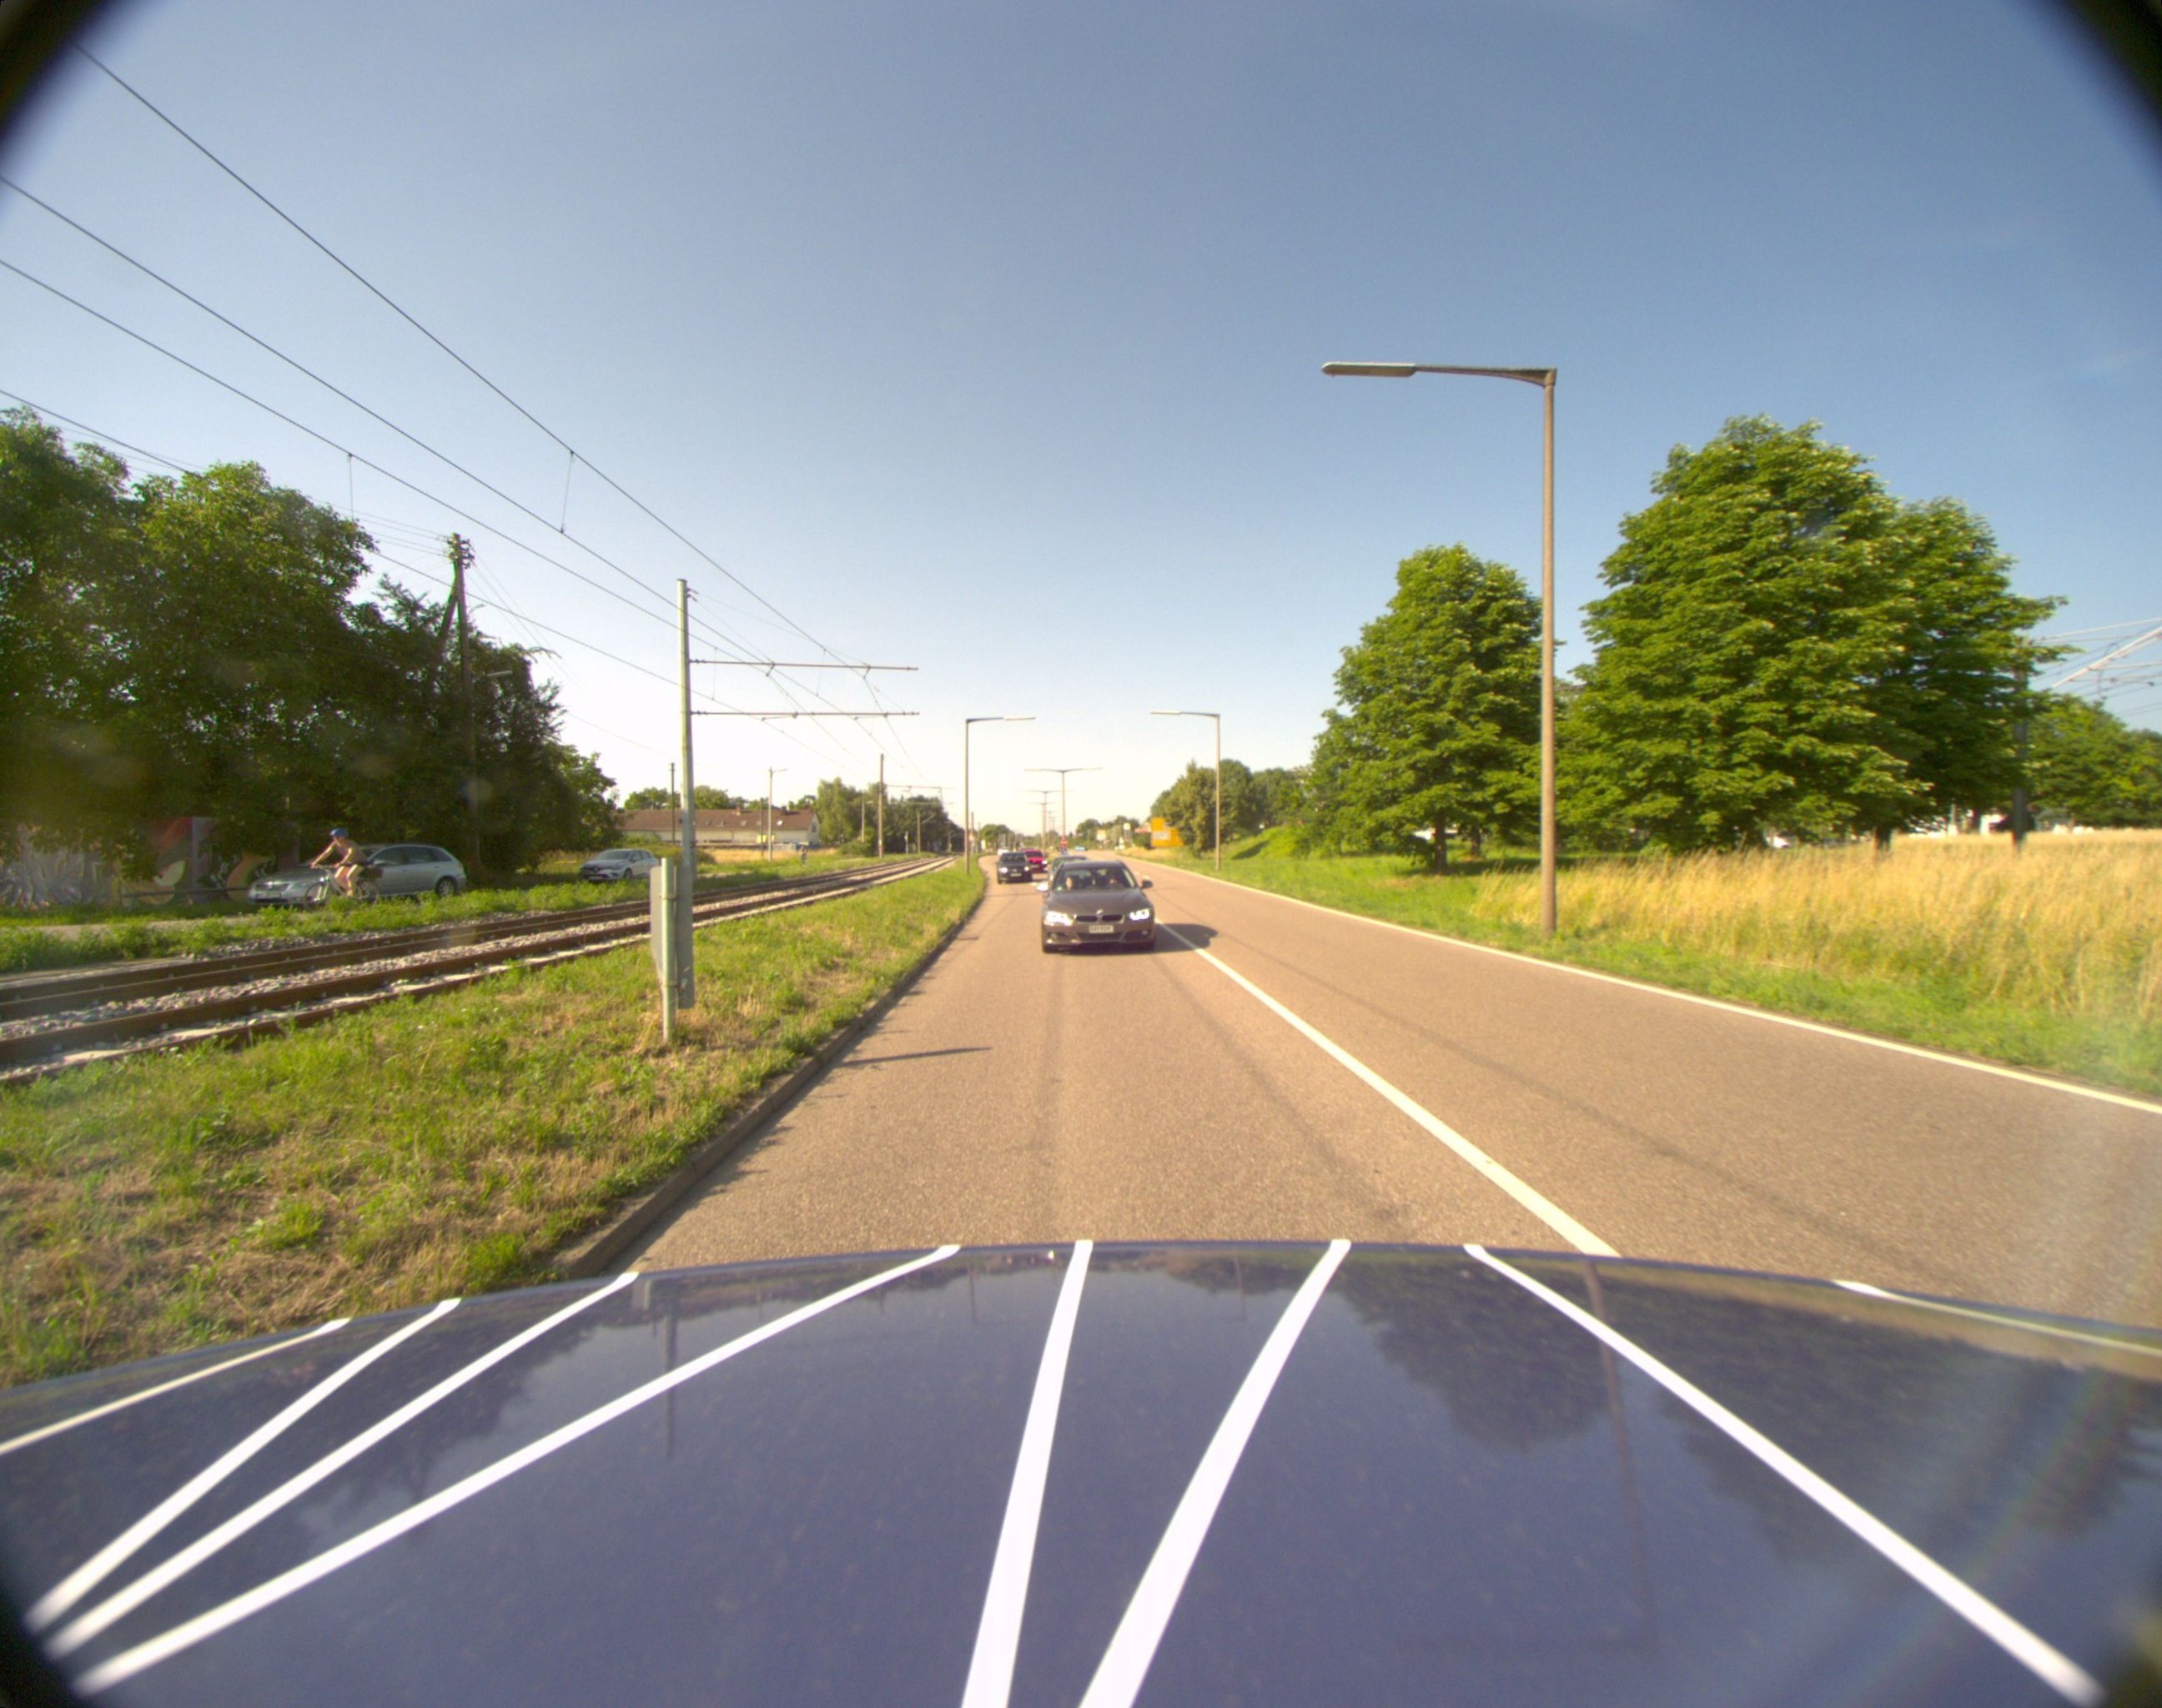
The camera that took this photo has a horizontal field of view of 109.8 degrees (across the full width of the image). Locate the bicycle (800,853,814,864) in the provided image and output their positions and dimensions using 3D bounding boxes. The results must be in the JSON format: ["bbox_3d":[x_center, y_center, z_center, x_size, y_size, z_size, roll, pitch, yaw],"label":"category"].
[{"bbox_3d":[-23.273,0.345,64.559,0.644,0.904,1.812,-2,1,-4],"label":"bicycle"}]

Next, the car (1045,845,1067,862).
[{"bbox_3d":[-2.444,-0.071,72.534,1.969,1.504,4.806,-1,1,-4],"label":"car"}]

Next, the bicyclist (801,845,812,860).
[{"bbox_3d":[-23.289,-0.112,64.534,0.641,1.226,0.791,-2,1,-4],"label":"bicyclist"}]

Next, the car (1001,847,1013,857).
[{"bbox_3d":[-12.591,-0.318,129.499,1.969,1.609,4.305,-1,1,-6],"label":"car"}]

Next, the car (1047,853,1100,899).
[{"bbox_3d":[-0.248,0.719,27.285,1.711,1.444,4.589,-2,0,0],"label":"car"}]

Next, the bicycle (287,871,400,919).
[{"bbox_3d":[-15.727,0.846,16.273,0.644,0.904,1.843,-1,1,-2],"label":"bicycle"}]

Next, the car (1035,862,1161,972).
[{"bbox_3d":[0.200,0.927,12.814,1.747,1.444,3.946,-2,1,-1],"label":"car"}]

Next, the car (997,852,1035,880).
[{"bbox_3d":[-3.388,0.605,40.363,1.848,1.347,4.152,-2,1,-4],"label":"car"}]

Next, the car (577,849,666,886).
[{"bbox_3d":[-18.913,0.498,31.483,1.539,1.440,4.128,0,0,-6],"label":"car"}]

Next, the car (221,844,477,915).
[{"bbox_3d":[-18.224,0.553,19.327,1.912,1.581,4.726,0,0,0],"label":"car"}]

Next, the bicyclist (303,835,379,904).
[{"bbox_3d":[-15.739,0.321,16.194,0.631,1.414,0.962,-1,1,-2],"label":"bicyclist"}]

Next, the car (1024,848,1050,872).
[{"bbox_3d":[-3.027,0.360,52.242,1.608,1.504,4.266,-2,1,-4],"label":"car"}]

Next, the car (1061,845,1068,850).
[{"bbox_3d":[-5.102,-1.958,233.793,1.564,1.369,3.382,-3,2,-9],"label":"car"}]
